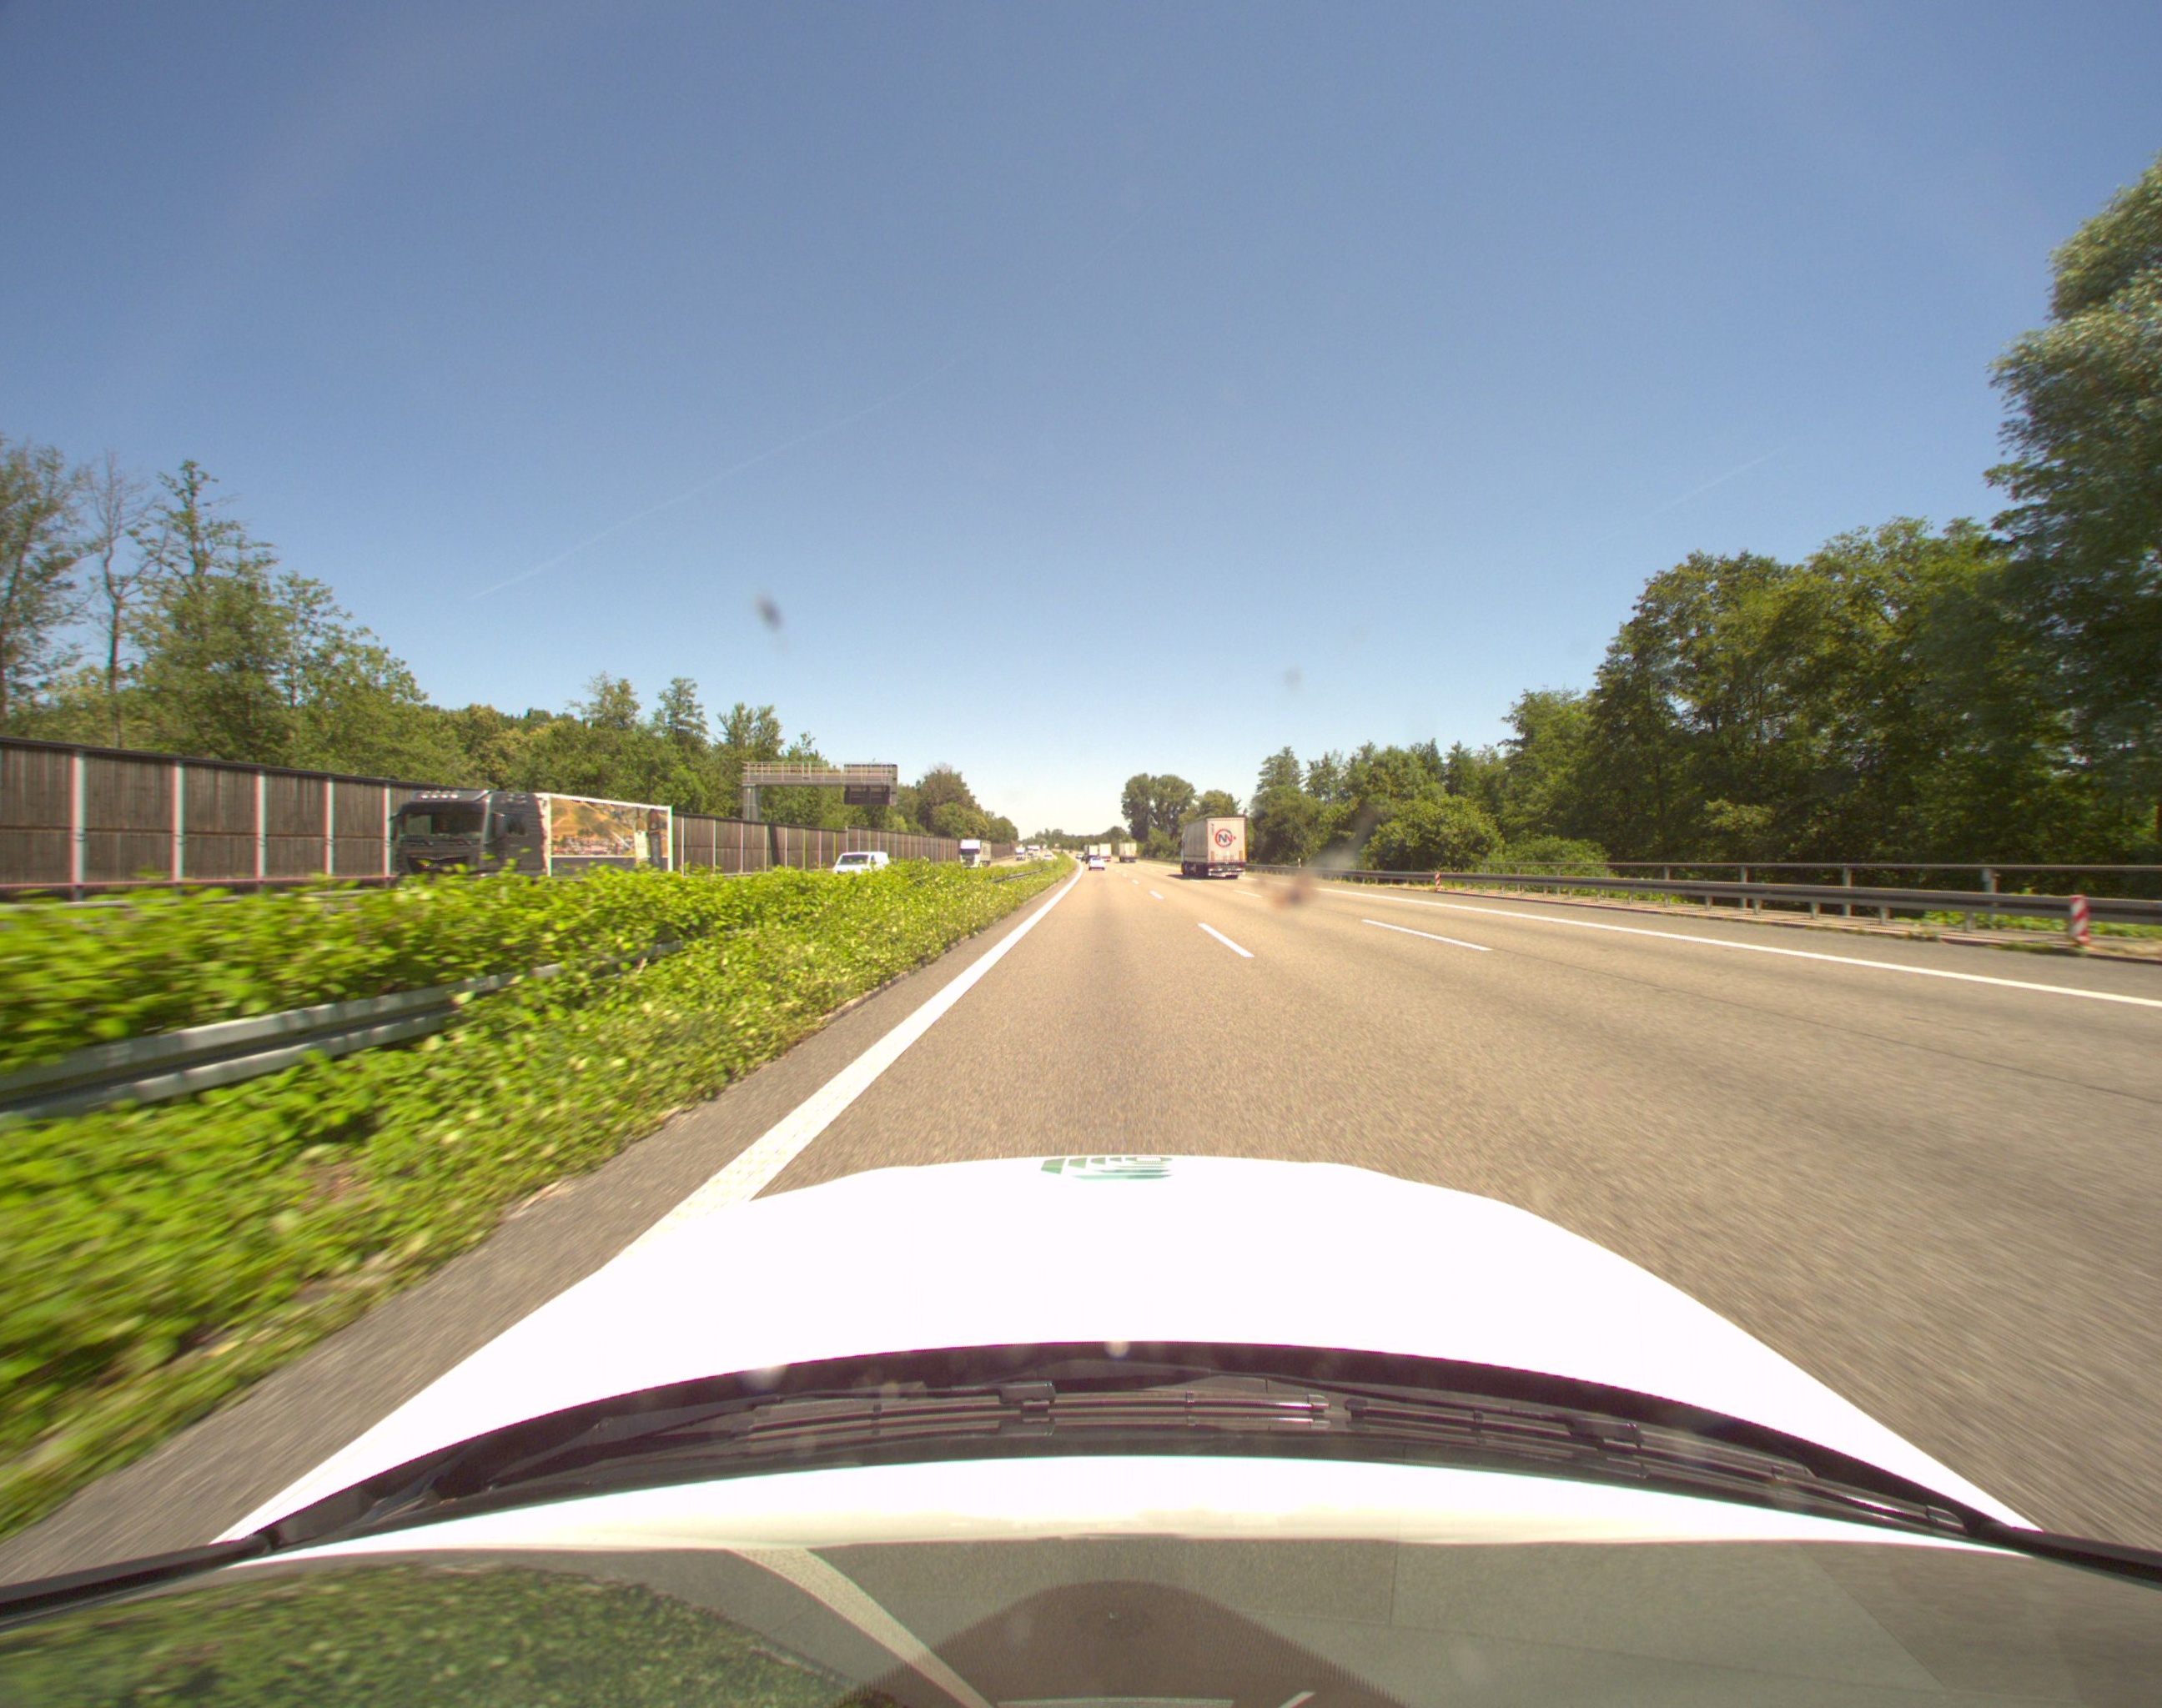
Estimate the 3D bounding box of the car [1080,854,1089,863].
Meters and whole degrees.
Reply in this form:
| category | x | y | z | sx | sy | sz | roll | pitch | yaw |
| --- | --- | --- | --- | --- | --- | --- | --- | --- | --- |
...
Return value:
| category | x | y | z | sx | sy | sz | roll | pitch | yaw |
| --- | --- | --- | --- | --- | --- | --- | --- | --- | --- |
| car | 0.758 | 0.944 | 190.206 | 1.988 | 2.013 | 3.998 | -1 | 0 | -2 |

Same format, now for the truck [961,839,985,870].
| category | x | y | z | sx | sy | sz | roll | pitch | yaw |
| --- | --- | --- | --- | --- | --- | --- | --- | --- | --- |
| truck | -14.991 | 0.090 | 113.487 | 2.512 | 4.066 | 6.369 | -1 | 0 | 0 |

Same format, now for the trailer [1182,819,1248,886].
| category | x | y | z | sx | sy | sz | roll | pitch | yaw |
| --- | --- | --- | --- | --- | --- | --- | --- | --- | --- |
| trailer | 9.429 | -0.085 | 59.098 | 2.615 | 4.261 | 14.061 | -1 | 0 | 1 |

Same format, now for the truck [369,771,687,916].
| category | x | y | z | sx | sy | sz | roll | pitch | yaw |
| --- | --- | --- | --- | --- | --- | --- | --- | --- | --- |
| truck | -16.264 | -0.239 | 25.373 | 2.859 | 3.605 | 9.955 | -1 | 0 | 2 |

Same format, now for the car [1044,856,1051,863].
| category | x | y | z | sx | sy | sz | roll | pitch | yaw |
| --- | --- | --- | --- | --- | --- | --- | --- | --- | --- |
| car | -8.296 | 1.380 | 202.152 | 1.577 | 1.588 | 4.001 | -1 | 0 | 1 |

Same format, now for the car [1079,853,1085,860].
| category | x | y | z | sx | sy | sz | roll | pitch | yaw |
| --- | --- | --- | --- | --- | --- | --- | --- | --- | --- |
| car | 0.287 | 0.720 | 241.649 | 1.719 | 1.783 | 3.998 | -1 | 0 | -1 |

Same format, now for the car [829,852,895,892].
| category | x | y | z | sx | sy | sz | roll | pitch | yaw |
| --- | --- | --- | --- | --- | --- | --- | --- | --- | --- |
| car | -11.662 | 0.940 | 43.782 | 1.986 | 2.014 | 5.104 | -1 | 0 | 2 |

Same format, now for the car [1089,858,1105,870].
| category | x | y | z | sx | sy | sz | roll | pitch | yaw |
| --- | --- | --- | --- | --- | --- | --- | --- | --- | --- |
| car | 1.850 | 1.104 | 93.576 | 1.709 | 1.369 | 3.377 | -1 | 0 | 2 |

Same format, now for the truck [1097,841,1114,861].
| category | x | y | z | sx | sy | sz | roll | pitch | yaw |
| --- | --- | --- | --- | --- | --- | --- | --- | --- | --- |
| truck | 5.652 | -0.654 | 188.661 | 3.350 | 4.311 | 10.824 | -1 | 0 | -1 |

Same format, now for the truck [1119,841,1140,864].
| category | x | y | z | sx | sy | sz | roll | pitch | yaw |
| --- | --- | --- | --- | --- | --- | --- | --- | --- | --- |
| truck | 9.663 | -0.317 | 163.164 | 3.482 | 4.311 | 10.984 | -1 | 0 | -1 |

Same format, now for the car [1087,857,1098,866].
| category | x | y | z | sx | sy | sz | roll | pitch | yaw |
| --- | --- | --- | --- | --- | --- | --- | --- | --- | --- |
| car | 2.094 | 1.425 | 154.249 | 1.987 | 1.772 | 4.000 | -1 | 0 | 0 |

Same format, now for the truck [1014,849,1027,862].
| category | x | y | z | sx | sy | sz | roll | pitch | yaw |
| --- | --- | --- | --- | --- | --- | --- | --- | --- | --- |
| truck | -16.417 | 0.376 | 222.035 | 2.824 | 3.609 | 8.744 | -1 | 0 | 0 |

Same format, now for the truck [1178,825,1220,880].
| category | x | y | z | sx | sy | sz | roll | pitch | yaw |
| --- | --- | --- | --- | --- | --- | --- | --- | --- | --- |
| truck | 9.489 | -0.109 | 65.984 | 2.597 | 4.287 | 5.435 | -1 | 0 | 0 |
